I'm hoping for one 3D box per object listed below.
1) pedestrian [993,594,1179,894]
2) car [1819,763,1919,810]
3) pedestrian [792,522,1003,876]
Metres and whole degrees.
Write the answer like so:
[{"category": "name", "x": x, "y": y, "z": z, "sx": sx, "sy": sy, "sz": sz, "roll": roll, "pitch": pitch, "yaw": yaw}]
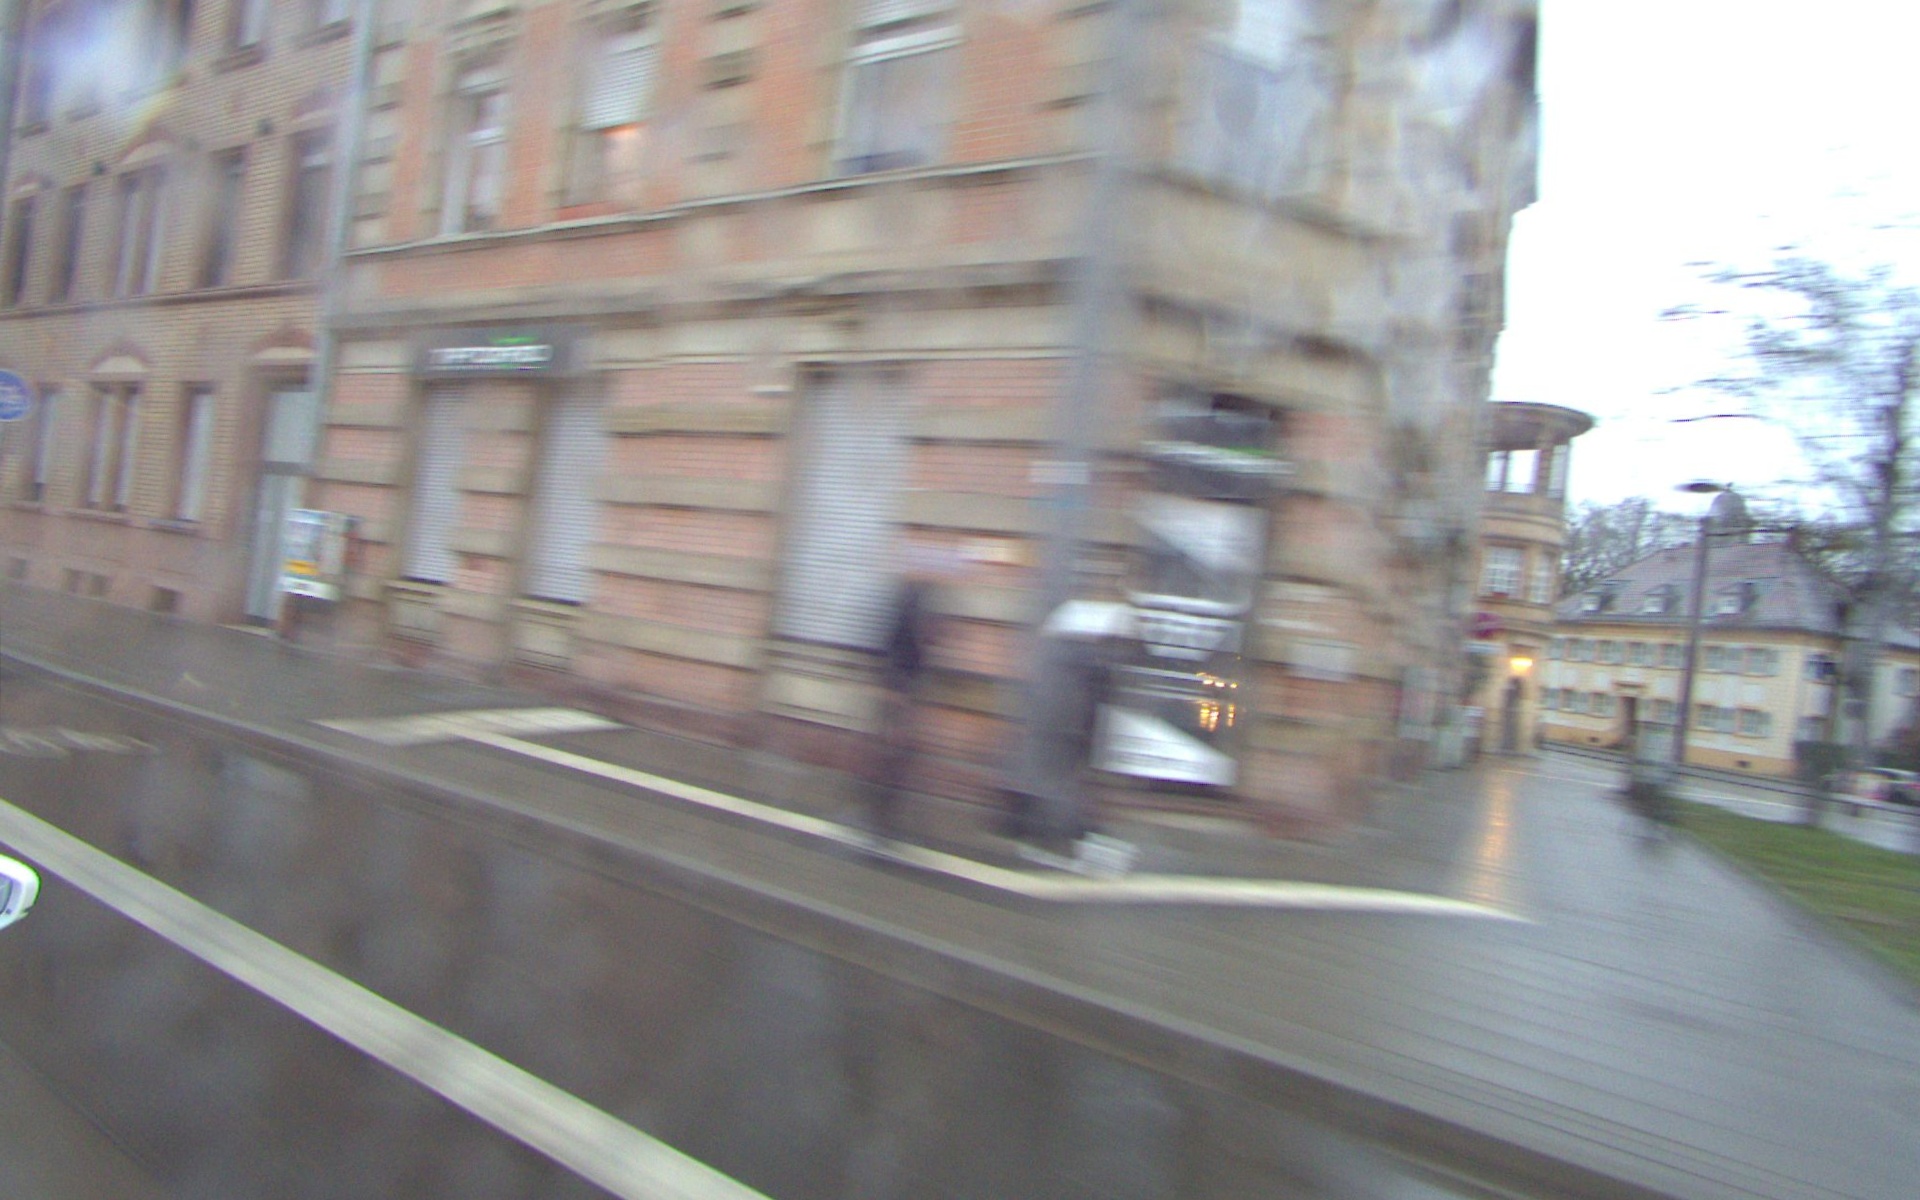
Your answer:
[{"category": "pedestrian", "x": 0.747, "y": 0.806, "z": 5.894, "sx": 0.699, "sy": 1.566, "sz": 0.633, "roll": 7, "pitch": -1, "yaw": 32}, {"category": "car", "x": 39.413, "y": 7.979, "z": 42.909, "sx": 1.810, "sy": 1.317, "sz": 3.771, "roll": 8, "pitch": -1, "yaw": -13}, {"category": "pedestrian", "x": -0.345, "y": 0.547, "z": 5.827, "sx": 0.699, "sy": 1.846, "sz": 0.752, "roll": 7, "pitch": -1, "yaw": 32}]
